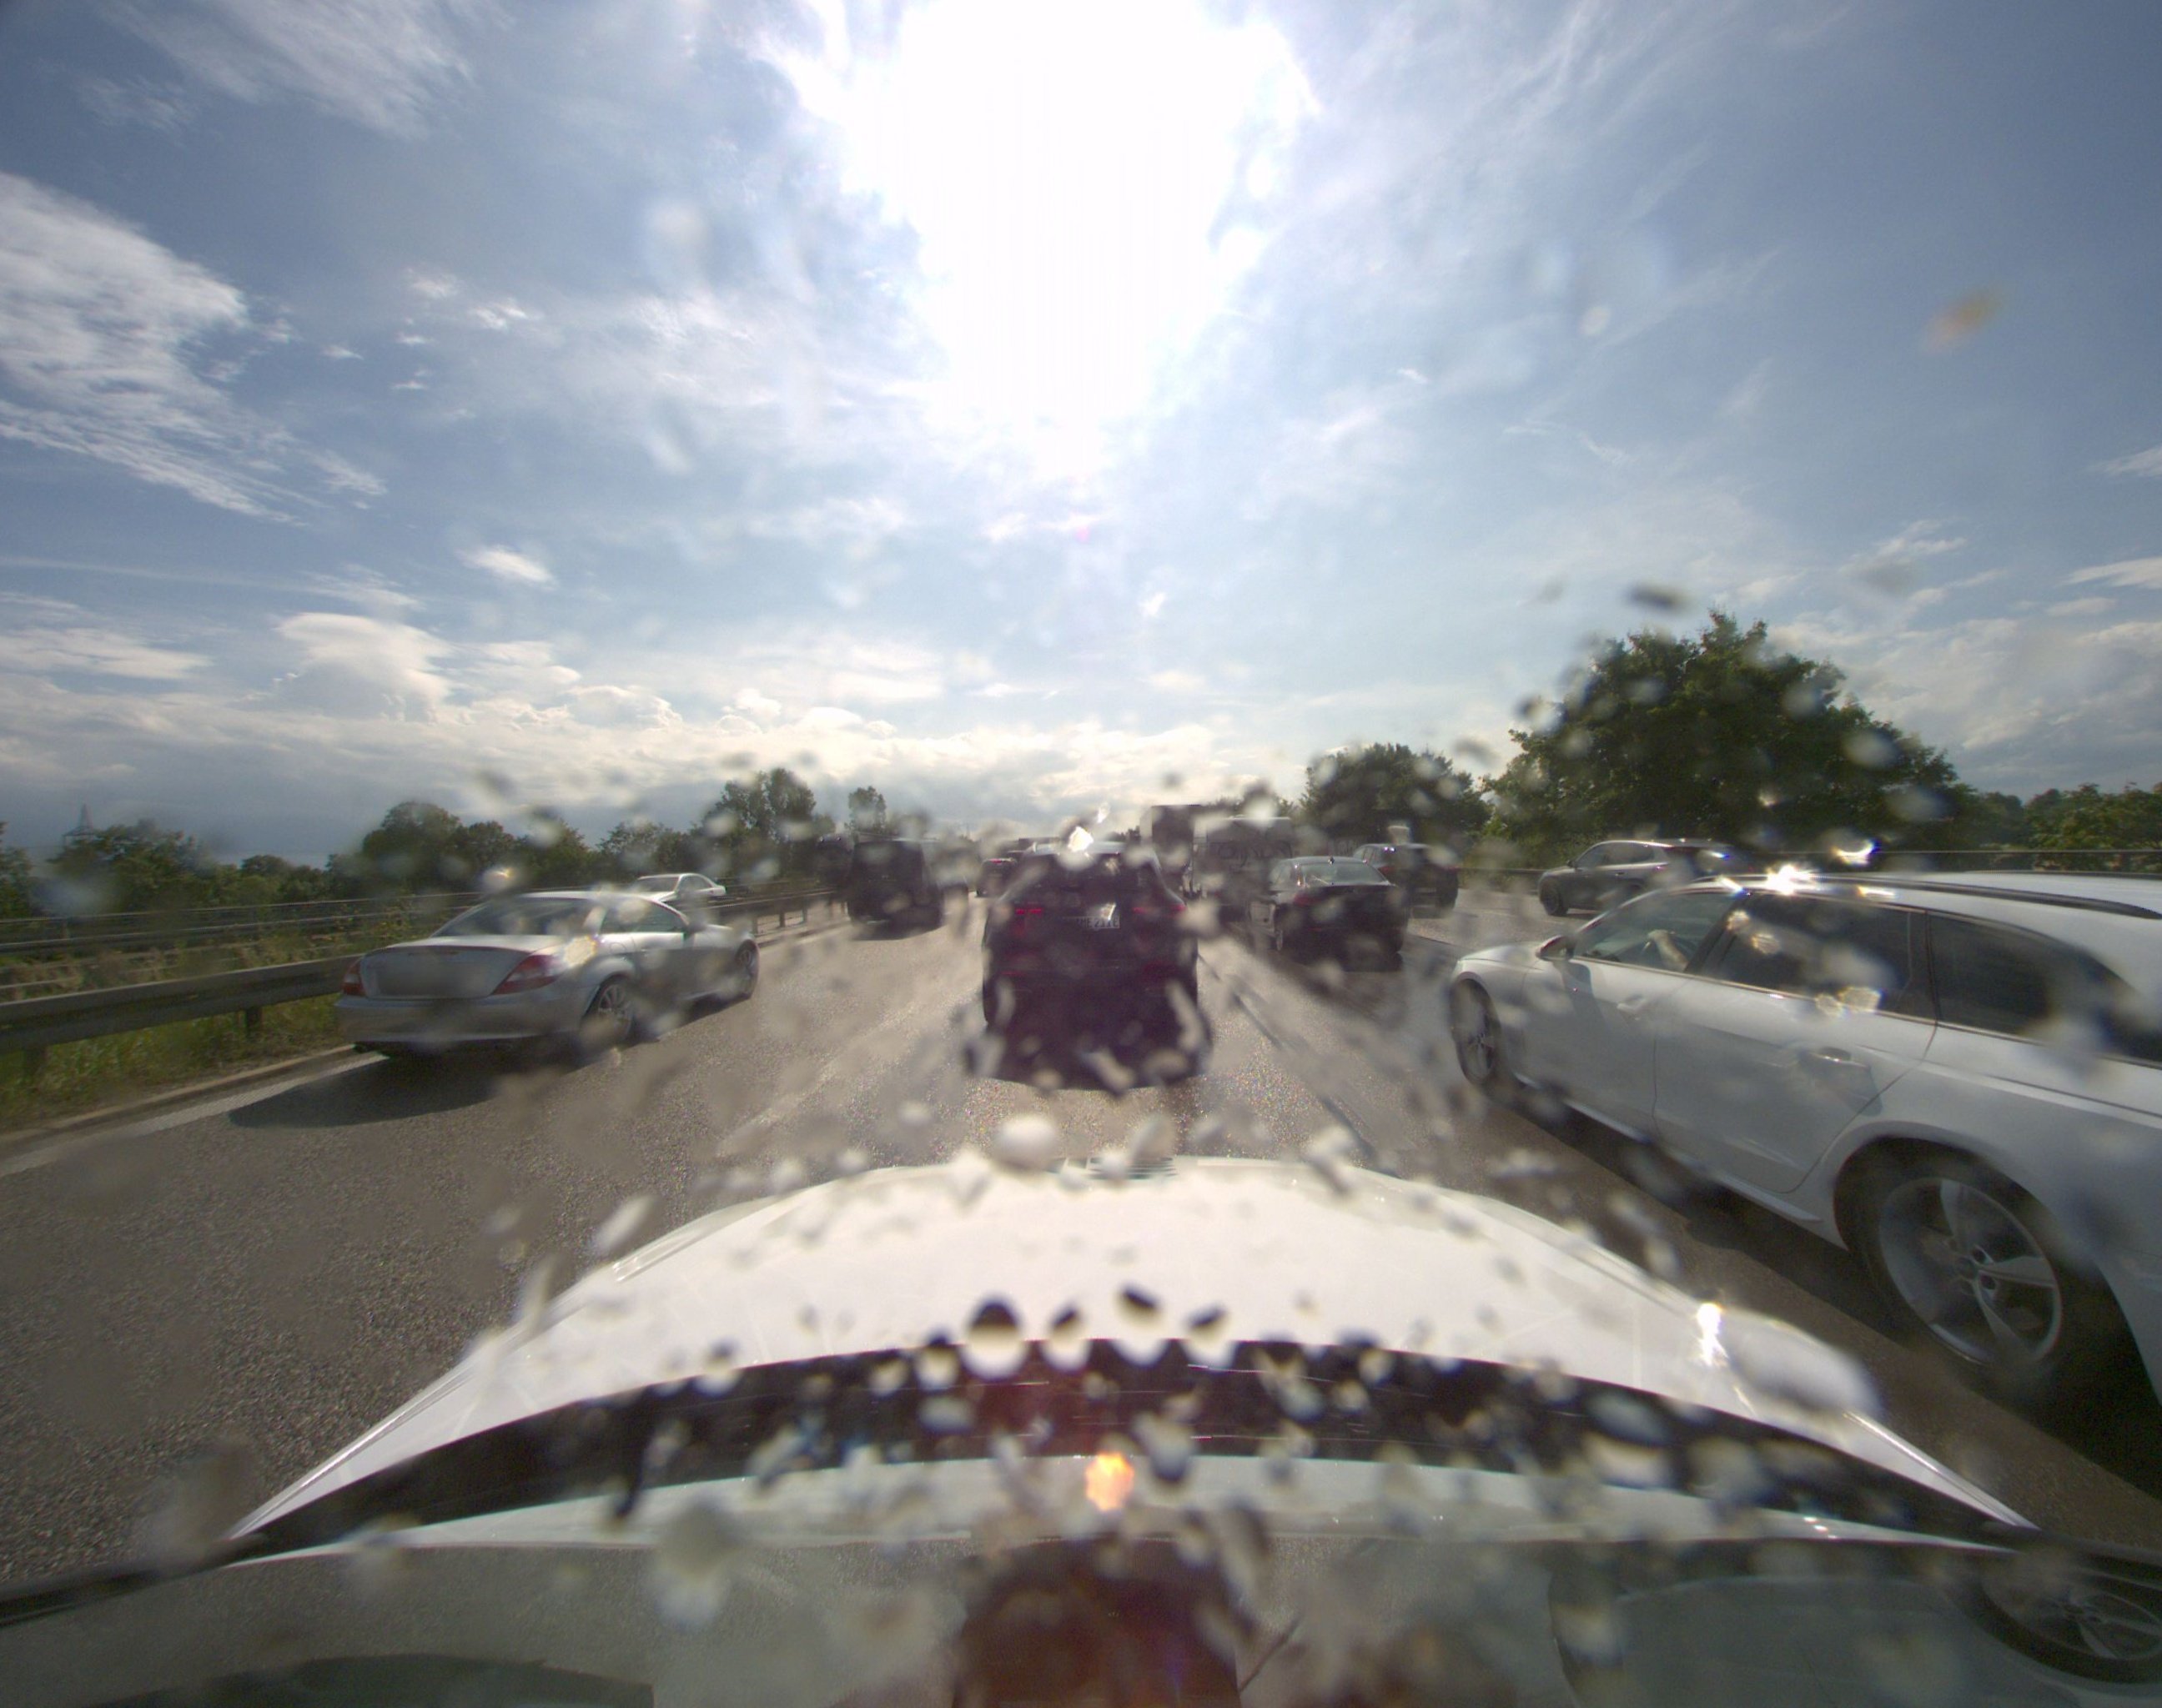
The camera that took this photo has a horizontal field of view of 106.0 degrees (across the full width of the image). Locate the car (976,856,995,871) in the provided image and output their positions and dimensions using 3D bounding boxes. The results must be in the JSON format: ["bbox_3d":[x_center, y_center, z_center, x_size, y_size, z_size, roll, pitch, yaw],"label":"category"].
[{"bbox_3d":[-12.821,1.303,109.092,1.987,2.014,3.999,-2,-1,0],"label":"car"}]

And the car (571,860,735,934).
[{"bbox_3d":[-11.134,1.063,21.585,1.986,1.730,4.207,-2,-1,2],"label":"car"}]

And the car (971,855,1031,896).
[{"bbox_3d":[-3.178,0.821,33.156,1.750,1.516,4.212,-1,0,3],"label":"car"}]

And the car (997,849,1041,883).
[{"bbox_3d":[-3.324,0.636,44.215,1.987,1.720,4.000,-1,0,1],"label":"car"}]

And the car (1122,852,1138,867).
[{"bbox_3d":[6.607,0.743,110.127,1.985,2.013,4.003,2,0,3],"label":"car"}]

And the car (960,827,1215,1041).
[{"bbox_3d":[0.122,0.648,8.658,1.986,1.661,4.408,-1,0,2],"label":"car"}]

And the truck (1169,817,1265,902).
[{"bbox_3d":[4.302,0.184,26.763,2.365,2.477,5.758,-1,0,2],"label":"truck"}]

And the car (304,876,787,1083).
[{"bbox_3d":[-4.436,0.922,7.653,1.718,1.278,4.065,-1,0,2],"label":"car"}]

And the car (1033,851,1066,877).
[{"bbox_3d":[-2.295,0.734,60.093,1.985,1.772,4.003,-2,0,3],"label":"car"}]

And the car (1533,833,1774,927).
[{"bbox_3d":[10.910,0.456,15.966,1.743,1.586,4.286,0,0,0],"label":"car"}]

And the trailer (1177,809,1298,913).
[{"bbox_3d":[4.166,0.180,22.937,2.365,2.483,6.526,-1,0,2],"label":"trailer"}]

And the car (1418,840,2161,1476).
[{"bbox_3d":[3.330,0.715,3.568,1.821,1.425,4.509,1,-1,-1],"label":"car"}]

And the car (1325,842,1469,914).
[{"bbox_3d":[7.837,0.539,20.755,1.986,1.581,4.655,-1,0,2],"label":"car"}]

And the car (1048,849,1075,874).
[{"bbox_3d":[-1.693,0.612,70.768,1.985,2.013,4.003,2,0,3],"label":"car"}]

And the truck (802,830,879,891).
[{"bbox_3d":[-17.695,0.451,60.522,2.994,4.103,7.689,-3,0,2],"label":"truck"}]

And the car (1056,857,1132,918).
[{"bbox_3d":[0.403,0.786,20.962,1.750,1.387,3.948,-1,0,3],"label":"car"}]

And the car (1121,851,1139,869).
[{"bbox_3d":[5.532,0.660,91.799,1.985,2.013,4.003,0,0,3],"label":"car"}]

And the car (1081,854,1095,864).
[{"bbox_3d":[1.079,0.778,129.307,1.985,1.616,4.003,2,0,3],"label":"car"}]

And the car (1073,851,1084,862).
[{"bbox_3d":[-0.436,0.441,156.924,1.987,2.013,3.999,2,0,0],"label":"car"}]

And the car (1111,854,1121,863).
[{"bbox_3d":[6.827,0.920,158.907,1.870,1.760,3.998,0,0,-1],"label":"car"}]

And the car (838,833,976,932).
[{"bbox_3d":[-3.958,0.592,19.567,1.986,2.013,5.272,-1,0,2],"label":"car"}]

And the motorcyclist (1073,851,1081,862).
[{"bbox_3d":[-0.608,0.384,122.089,1.059,1.718,0.785,-1,-1,2],"label":"motorcyclist"}]

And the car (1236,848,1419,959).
[{"bbox_3d":[3.778,0.684,13.264,1.841,1.464,4.258,-2,0,3],"label":"car"}]

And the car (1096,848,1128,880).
[{"bbox_3d":[2.110,0.654,55.024,1.985,2.013,4.003,2,0,3],"label":"car"}]

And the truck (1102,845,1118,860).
[{"bbox_3d":[8.130,-0.446,229.962,3.833,4.017,11.212,0,0,-2],"label":"truck"}]

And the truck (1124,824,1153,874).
[{"bbox_3d":[5.781,-0.499,82.767,2.493,4.830,7.544,0,0,1],"label":"truck"}]

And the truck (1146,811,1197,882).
[{"bbox_3d":[5.611,-0.438,51.419,2.982,4.166,5.246,-1,0,4],"label":"truck"}]

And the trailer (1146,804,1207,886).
[{"bbox_3d":[5.188,-0.446,45.767,2.993,4.166,8.545,-1,0,4],"label":"trailer"}]

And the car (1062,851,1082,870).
[{"bbox_3d":[-1.002,0.706,90.428,1.985,2.013,4.003,0,0,3],"label":"car"}]

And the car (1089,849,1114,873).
[{"bbox_3d":[1.819,0.606,71.388,1.985,2.013,4.003,-1,0,3],"label":"car"}]
